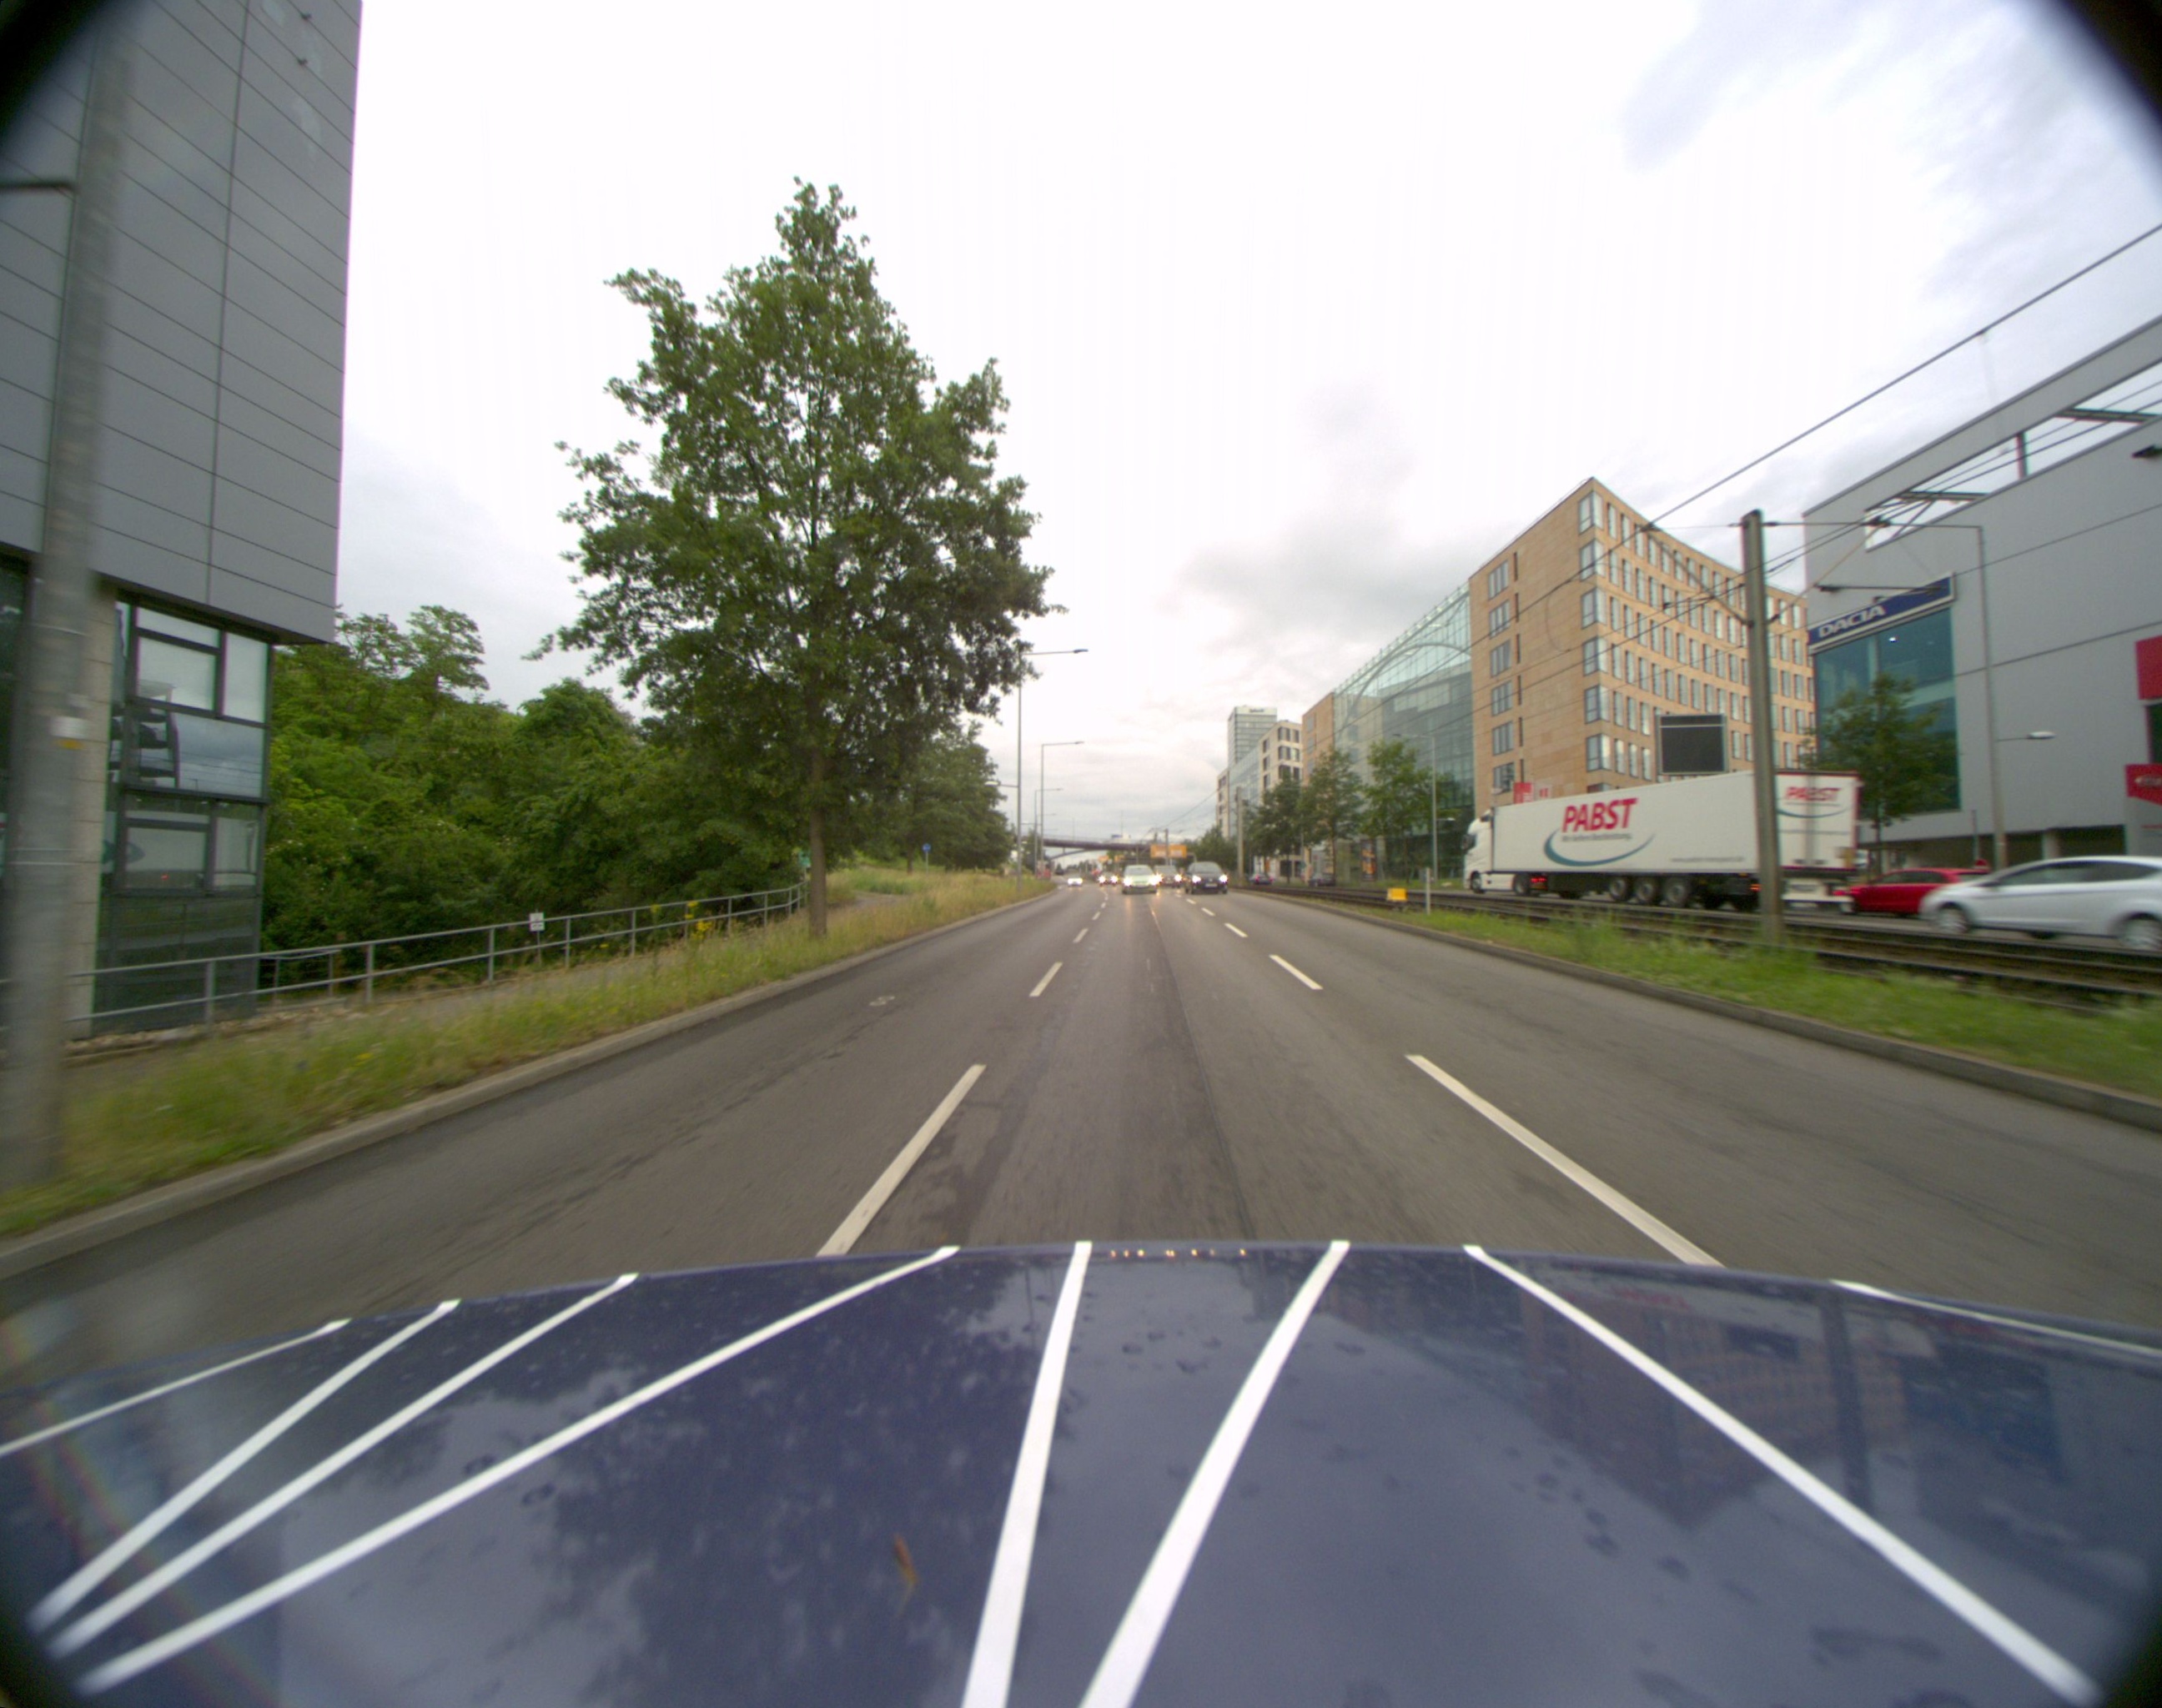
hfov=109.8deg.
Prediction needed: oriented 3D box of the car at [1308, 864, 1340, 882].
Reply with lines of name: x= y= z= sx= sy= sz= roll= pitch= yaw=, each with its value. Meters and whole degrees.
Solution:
car: x=22.991 y=1.769 z=72.004 sx=1.630 sy=1.608 sz=3.999 roll=-1 pitch=0 yaw=-2

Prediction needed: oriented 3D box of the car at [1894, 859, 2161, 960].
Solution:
car: x=16.257 y=0.811 z=12.349 sx=1.688 sy=1.428 sz=4.099 roll=1 pitch=0 yaw=0

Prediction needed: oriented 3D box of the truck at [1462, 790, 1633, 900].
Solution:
truck: x=20.073 y=-0.337 z=33.323 sx=3.143 sy=4.219 sz=7.029 roll=2 pitch=0 yaw=1

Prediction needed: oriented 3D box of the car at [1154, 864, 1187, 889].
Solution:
car: x=6.195 y=1.525 z=53.198 sx=1.786 sy=1.597 sz=4.317 roll=-2 pitch=0 yaw=1

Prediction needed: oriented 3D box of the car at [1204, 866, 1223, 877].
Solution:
car: x=17.058 y=2.238 z=97.906 sx=1.688 sy=1.428 sz=4.099 roll=-1 pitch=0 yaw=1

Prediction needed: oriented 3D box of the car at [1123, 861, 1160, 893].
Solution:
car: x=3.151 y=1.195 z=40.129 sx=1.704 sy=1.523 sz=4.371 roll=-1 pitch=0 yaw=2

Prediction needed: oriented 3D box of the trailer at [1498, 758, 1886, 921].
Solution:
trailer: x=20.050 y=-0.360 z=27.052 sx=3.142 sy=4.304 sz=13.282 roll=2 pitch=0 yaw=1

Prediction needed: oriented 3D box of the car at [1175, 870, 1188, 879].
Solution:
car: x=17.052 y=3.424 z=128.585 sx=1.688 sy=1.428 sz=4.099 roll=-1 pitch=0 yaw=1

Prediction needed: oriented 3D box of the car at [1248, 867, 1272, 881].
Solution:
car: x=19.082 y=2.137 z=81.274 sx=1.688 sy=1.428 sz=4.100 roll=-1 pitch=0 yaw=1

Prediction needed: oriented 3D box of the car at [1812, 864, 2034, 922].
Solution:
car: x=23.021 y=1.010 z=21.029 sx=1.688 sy=1.361 sz=4.025 roll=-1 pitch=0 yaw=0

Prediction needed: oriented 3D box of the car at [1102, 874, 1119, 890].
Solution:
car: x=3.396 y=3.257 z=87.838 sx=1.758 sy=1.649 sz=4.338 roll=-1 pitch=0 yaw=1

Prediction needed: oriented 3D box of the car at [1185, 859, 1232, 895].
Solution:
car: x=5.935 y=1.040 z=35.653 sx=1.704 sy=1.523 sz=3.827 roll=-1 pitch=0 yaw=2

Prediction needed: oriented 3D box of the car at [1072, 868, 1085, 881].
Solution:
car: x=-0.313 y=2.575 z=95.478 sx=1.518 sy=1.495 sz=3.168 roll=-1 pitch=0 yaw=-1
